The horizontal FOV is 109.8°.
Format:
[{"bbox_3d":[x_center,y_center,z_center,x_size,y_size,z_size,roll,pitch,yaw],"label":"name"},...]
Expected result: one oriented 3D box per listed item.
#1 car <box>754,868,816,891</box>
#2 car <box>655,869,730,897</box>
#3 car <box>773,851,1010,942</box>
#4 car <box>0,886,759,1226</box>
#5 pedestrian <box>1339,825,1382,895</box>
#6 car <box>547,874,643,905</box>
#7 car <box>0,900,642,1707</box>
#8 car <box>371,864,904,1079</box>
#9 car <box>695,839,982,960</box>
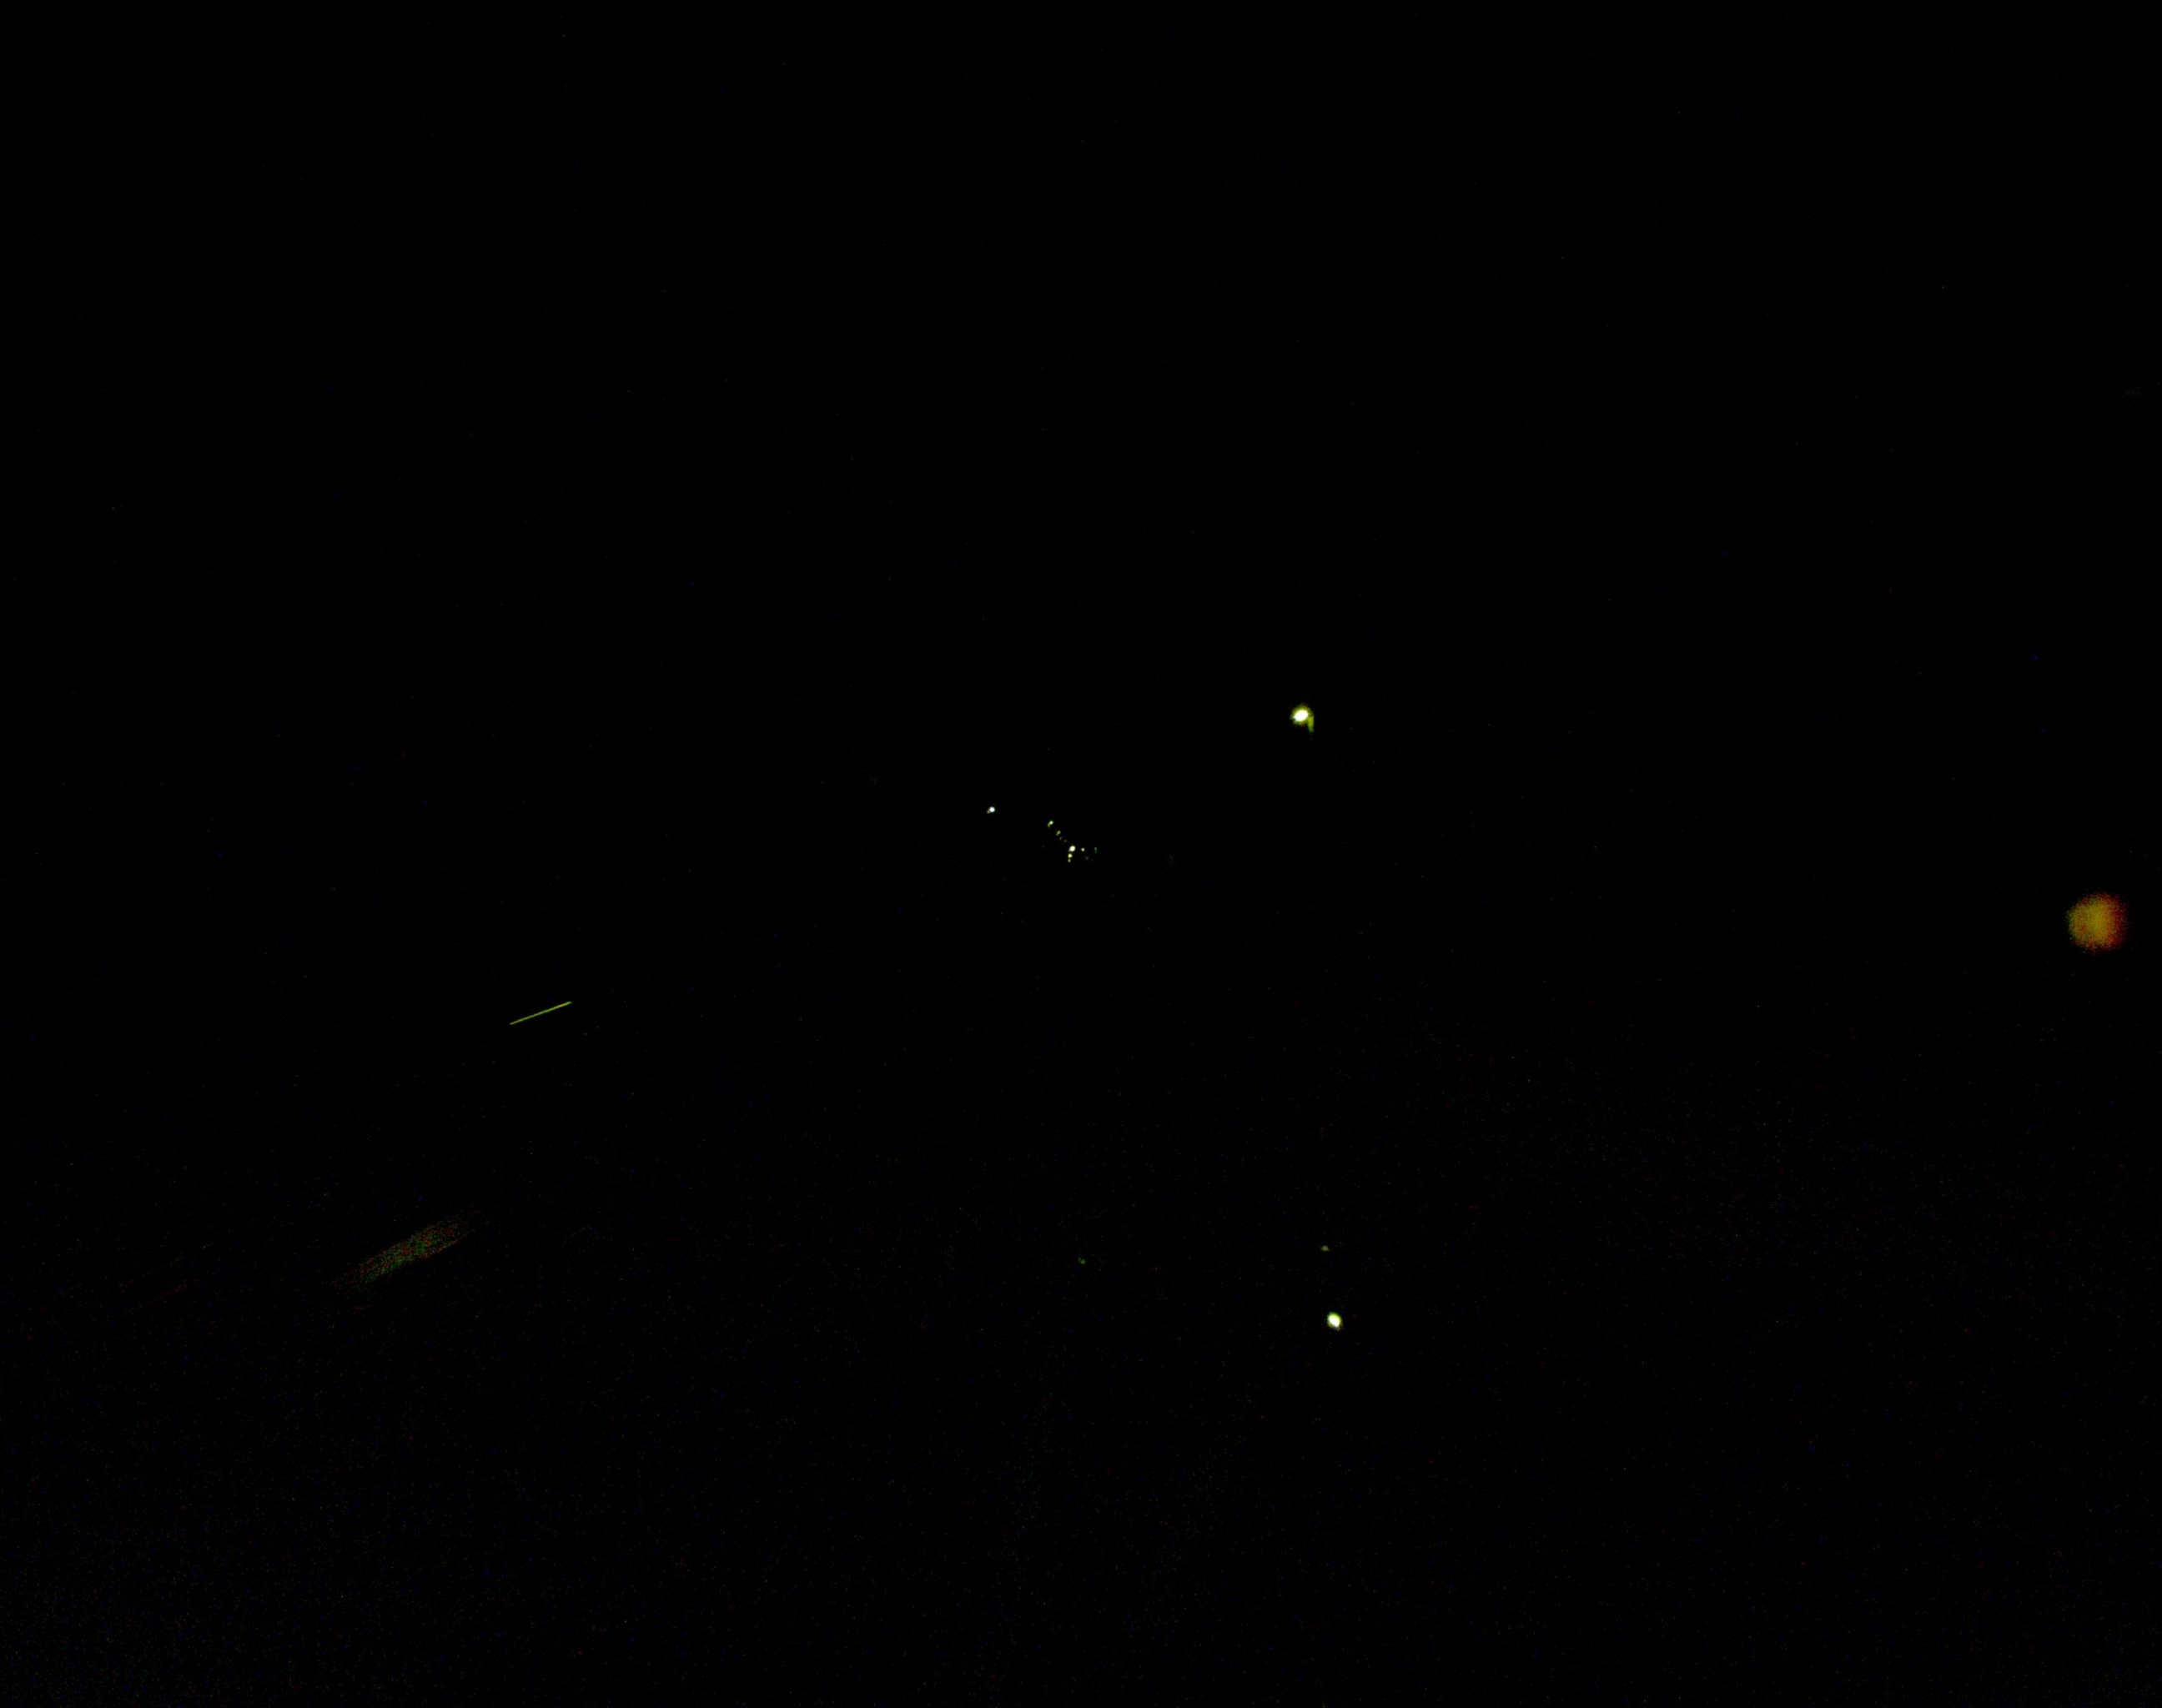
[{"bbox_3d":[-19.151,1.655,49.348,3.552,1.362,1.757,-1,0,-14],"label":"car"},{"bbox_3d":[-24.256,1.809,47.551,4.006,1.589,1.756,-1,0,-22],"label":"car"},{"bbox_3d":[-4.482,0.976,18.671,5.156,1.834,2.259,-3,0,-1],"label":"car"},{"bbox_3d":[-4.619,1.153,5.061,3.997,1.548,2.000,-4,0,1],"label":"car"},{"bbox_3d":[7.992,0.166,21.757,0.747,1.892,0.830,-6,1,0],"label":"pedestrian"},{"bbox_3d":[-28.808,2.063,45.254,4.660,1.663,1.928,-1,0,-28],"label":"car"},{"bbox_3d":[-4.367,1.123,2.411,4.665,1.548,2.107,-4,0,3],"label":"car"},{"bbox_3d":[-4.295,1.098,7.846,4.285,1.688,2.001,-4,0,5],"label":"car"},{"bbox_3d":[-4.841,0.884,15.861,5.156,2.084,2.259,-3,0,-1],"label":"car"}]
